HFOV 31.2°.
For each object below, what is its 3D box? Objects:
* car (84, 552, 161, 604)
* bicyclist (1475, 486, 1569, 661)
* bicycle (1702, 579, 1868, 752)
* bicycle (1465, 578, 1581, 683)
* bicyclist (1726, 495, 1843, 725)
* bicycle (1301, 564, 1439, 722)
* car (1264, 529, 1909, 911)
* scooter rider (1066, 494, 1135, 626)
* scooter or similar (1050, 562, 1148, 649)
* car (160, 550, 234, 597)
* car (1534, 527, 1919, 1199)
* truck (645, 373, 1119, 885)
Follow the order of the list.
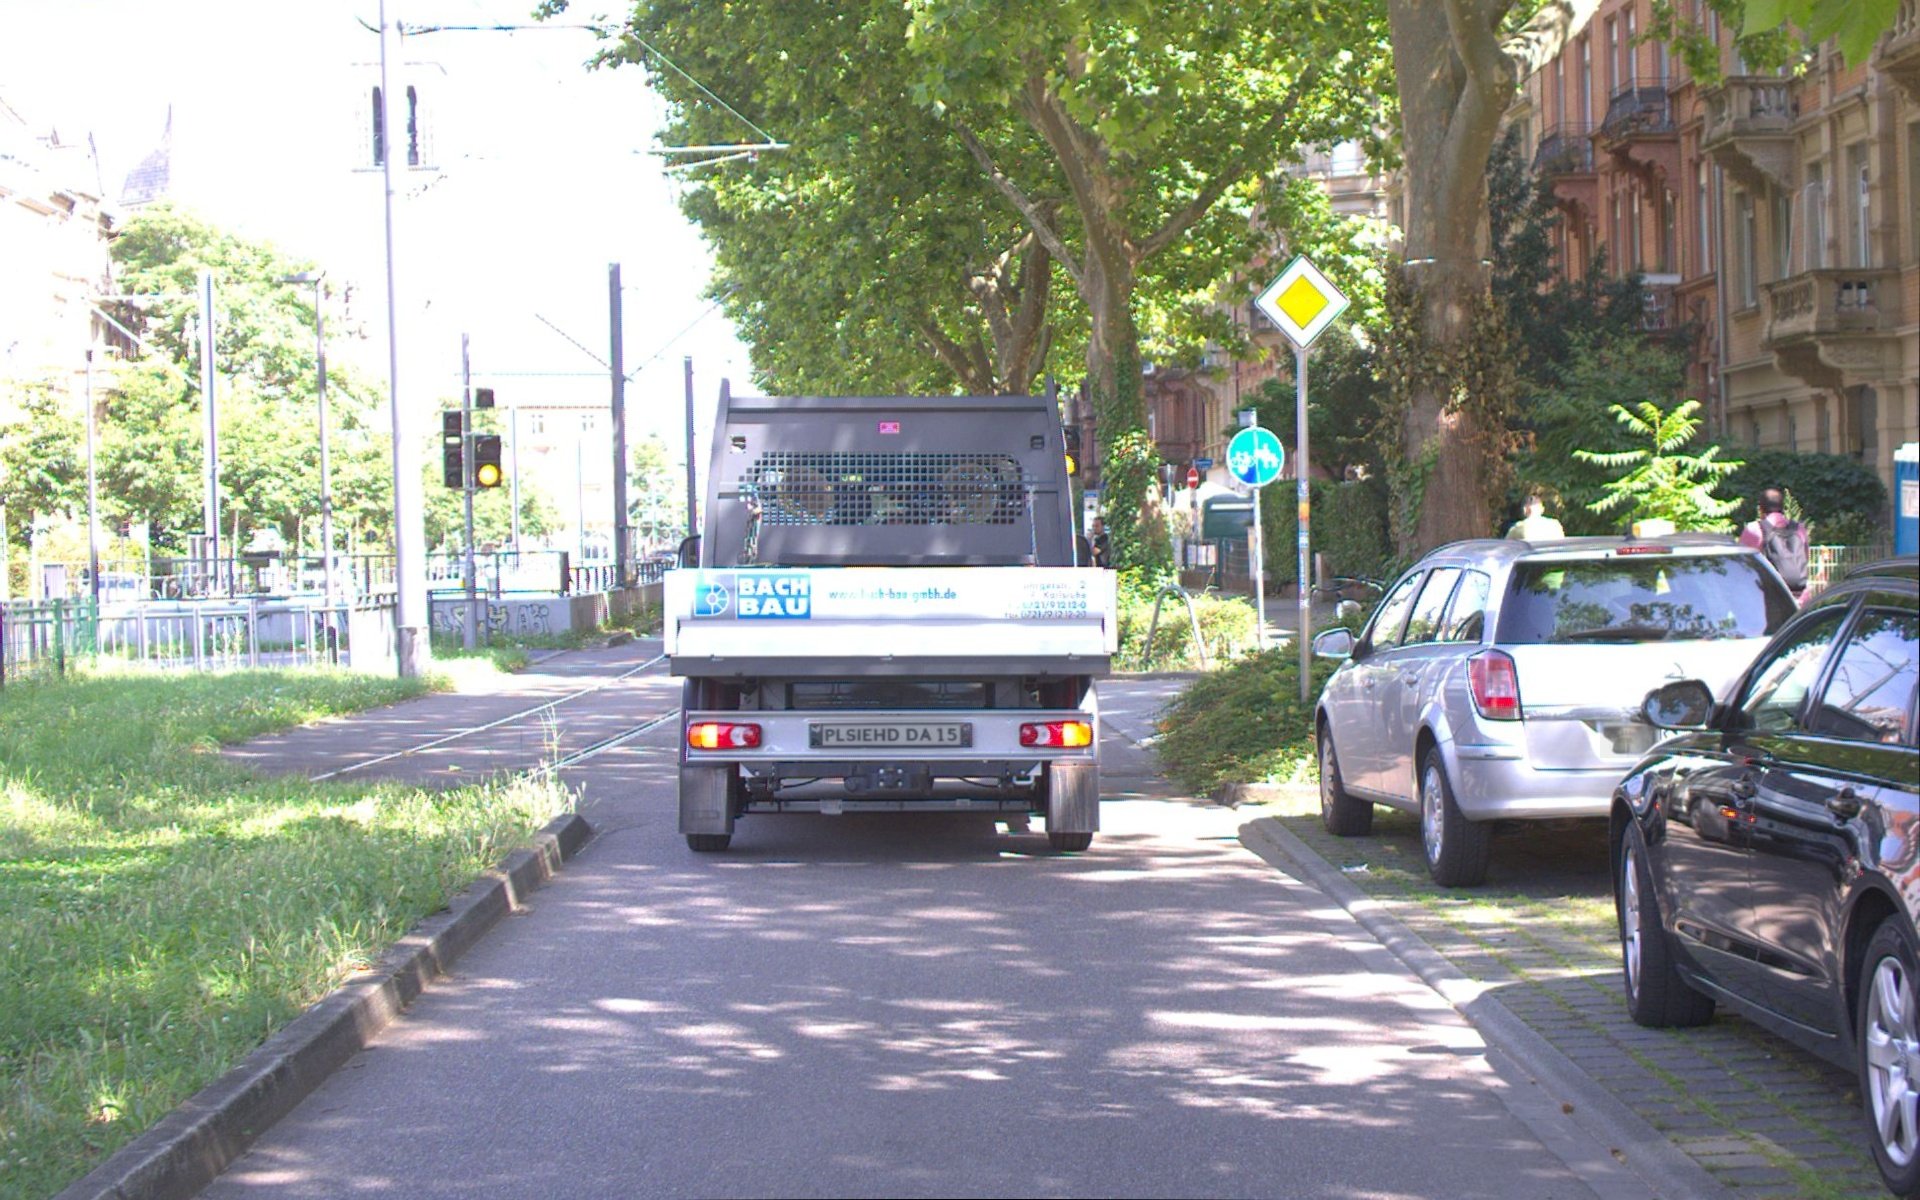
[{"bbox_3d":[-25.057,-0.678,102.911,1.770,1.493,4.001,-1,1,-7],"label":"car"},{"bbox_3d":[5.114,-0.243,31.320,0.680,1.558,0.777,-1,1,-1],"label":"bicyclist"},{"bbox_3d":[5.757,0.432,24.109,0.565,1.108,2.310,-1,1,-1],"label":"bicycle"},{"bbox_3d":[5.126,0.264,31.421,0.675,0.878,2.163,-1,1,0],"label":"bicycle"},{"bbox_3d":[5.747,0.064,23.978,0.638,1.568,0.579,-1,1,0],"label":"bicyclist"},{"bbox_3d":[3.048,0.304,25.473,0.421,1.101,1.614,-1,1,29],"label":"bicycle"},{"bbox_3d":[2.771,0.450,16.314,1.833,1.503,4.493,-2,1,-5],"label":"car"},{"bbox_3d":[2.009,-0.569,49.258,0.667,1.860,0.664,-2,1,-39],"label":"scooter rider"},{"bbox_3d":[1.996,0.072,49.264,1.267,1.200,0.657,-2,1,-41],"label":"scooter or similar"},{"bbox_3d":[-25.777,-0.908,116.262,1.770,1.493,4.001,-1,1,-3],"label":"car"},{"bbox_3d":[2.895,0.564,9.116,1.833,1.503,4.644,-2,1,-1],"label":"car"},{"bbox_3d":[-0.391,0.092,17.853,2.138,2.311,4.402,1,1,-1],"label":"truck"}]
